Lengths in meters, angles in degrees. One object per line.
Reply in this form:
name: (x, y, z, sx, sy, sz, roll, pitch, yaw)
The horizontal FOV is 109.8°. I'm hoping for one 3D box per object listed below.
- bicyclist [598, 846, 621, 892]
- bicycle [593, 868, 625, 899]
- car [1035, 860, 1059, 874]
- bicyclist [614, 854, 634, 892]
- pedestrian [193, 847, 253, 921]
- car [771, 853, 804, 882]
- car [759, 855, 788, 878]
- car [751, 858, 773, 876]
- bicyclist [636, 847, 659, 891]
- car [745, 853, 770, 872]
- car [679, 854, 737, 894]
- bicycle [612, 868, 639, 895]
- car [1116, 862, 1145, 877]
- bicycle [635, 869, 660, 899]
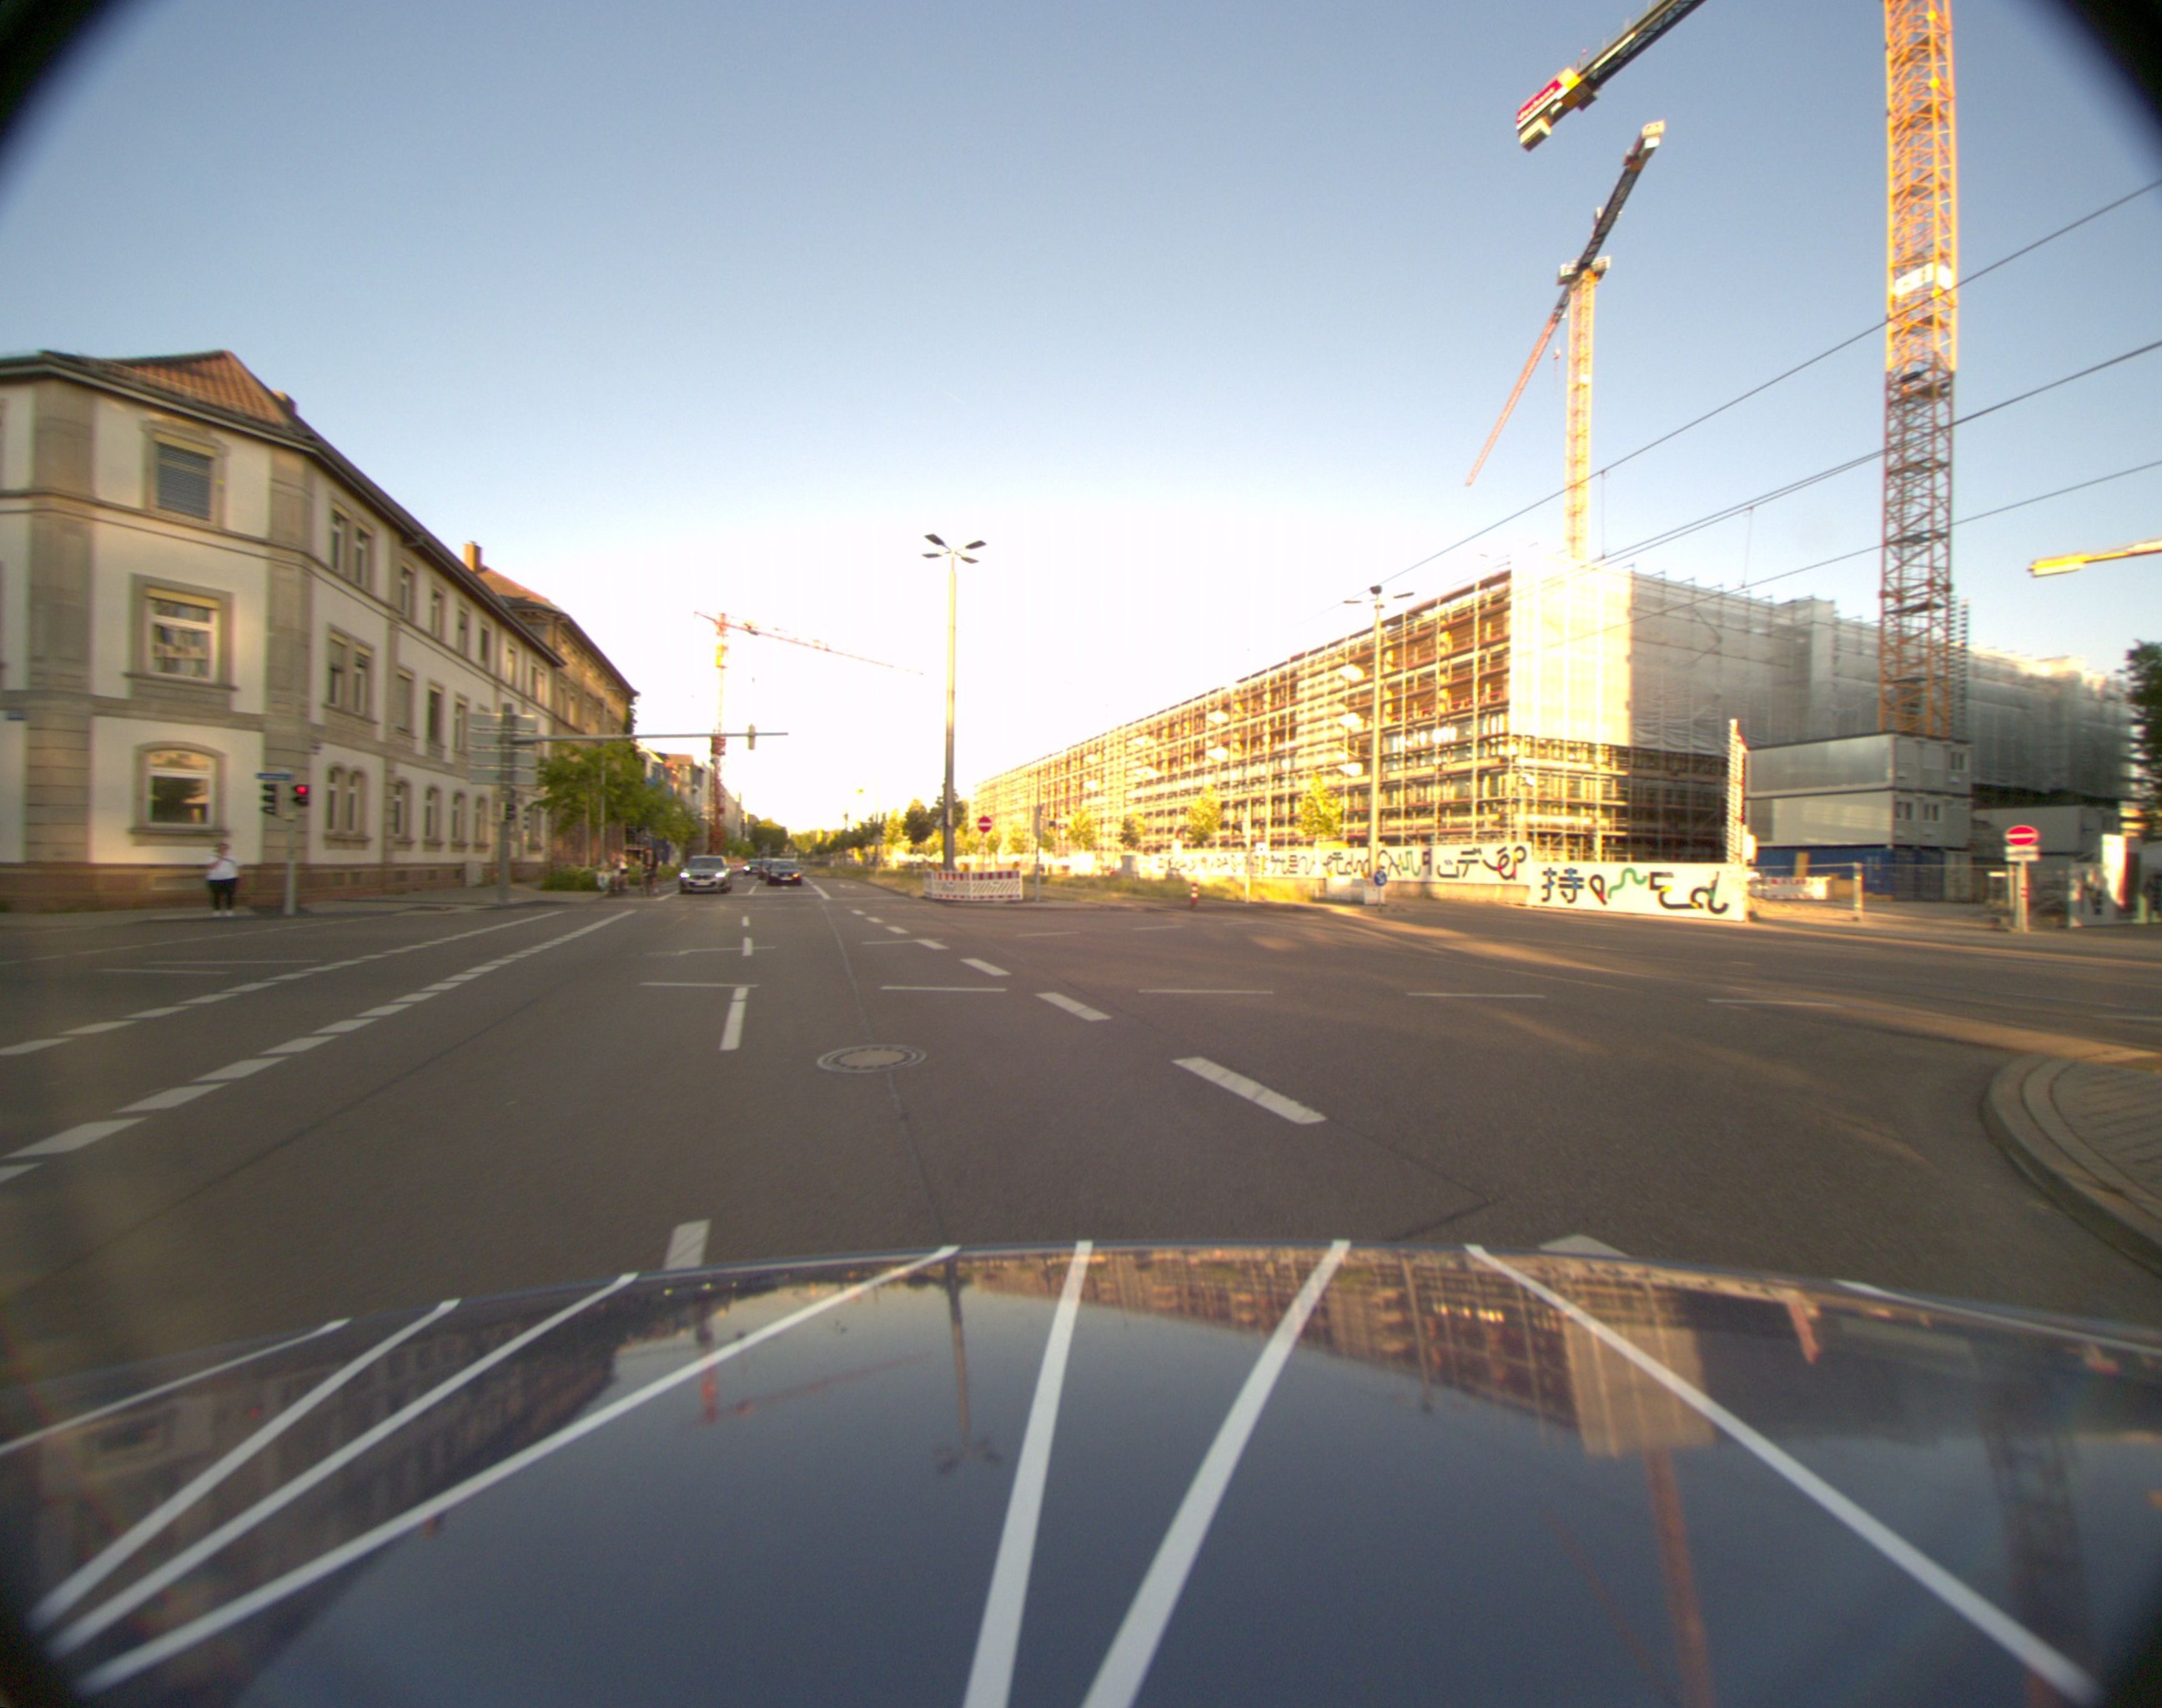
bicyclist: (-18.232, 0.573, 29.392, 0.511, 1.691, 0.766, 4, 1, -18)
bicycle: (-18.290, 1.126, 29.473, 0.529, 1.045, 2.044, 4, 0, -18)
car: (-4.025, 1.512, 89.393, 1.788, 1.508, 4.062, 3, -1, -17)
bicyclist: (-18.790, 0.779, 31.264, 0.513, 1.539, 0.691, 2, 0, -19)
pedestrian: (-19.585, 0.674, 17.360, 0.820, 1.647, 0.635, 1, 0, -41)
car: (-16.644, 0.723, 43.181, 1.705, 1.588, 4.252, 0, 0, -21)
car: (-21.912, 0.855, 54.262, 1.864, 1.588, 4.252, 0, 0, -21)
car: (-29.099, 1.199, 69.414, 1.705, 1.588, 3.883, 0, 0, -21)
bicyclist: (-17.065, 0.595, 29.947, 0.707, 1.692, 0.766, -1, 2, -26)
car: (-29.548, 0.760, 69.473, 1.883, 1.652, 3.755, 0, 0, -21)
car: (-16.053, 0.818, 32.857, 1.837, 1.588, 4.252, 0, 0, -21)
bicycle: (-18.924, 1.132, 31.594, 0.518, 1.045, 2.040, 2, -1, -19)
car: (5.101, 1.563, 78.648, 1.670, 1.446, 4.062, 3, -1, -17)
bicycle: (-17.022, 1.160, 29.882, 0.722, 1.045, 2.039, -1, 1, -26)
